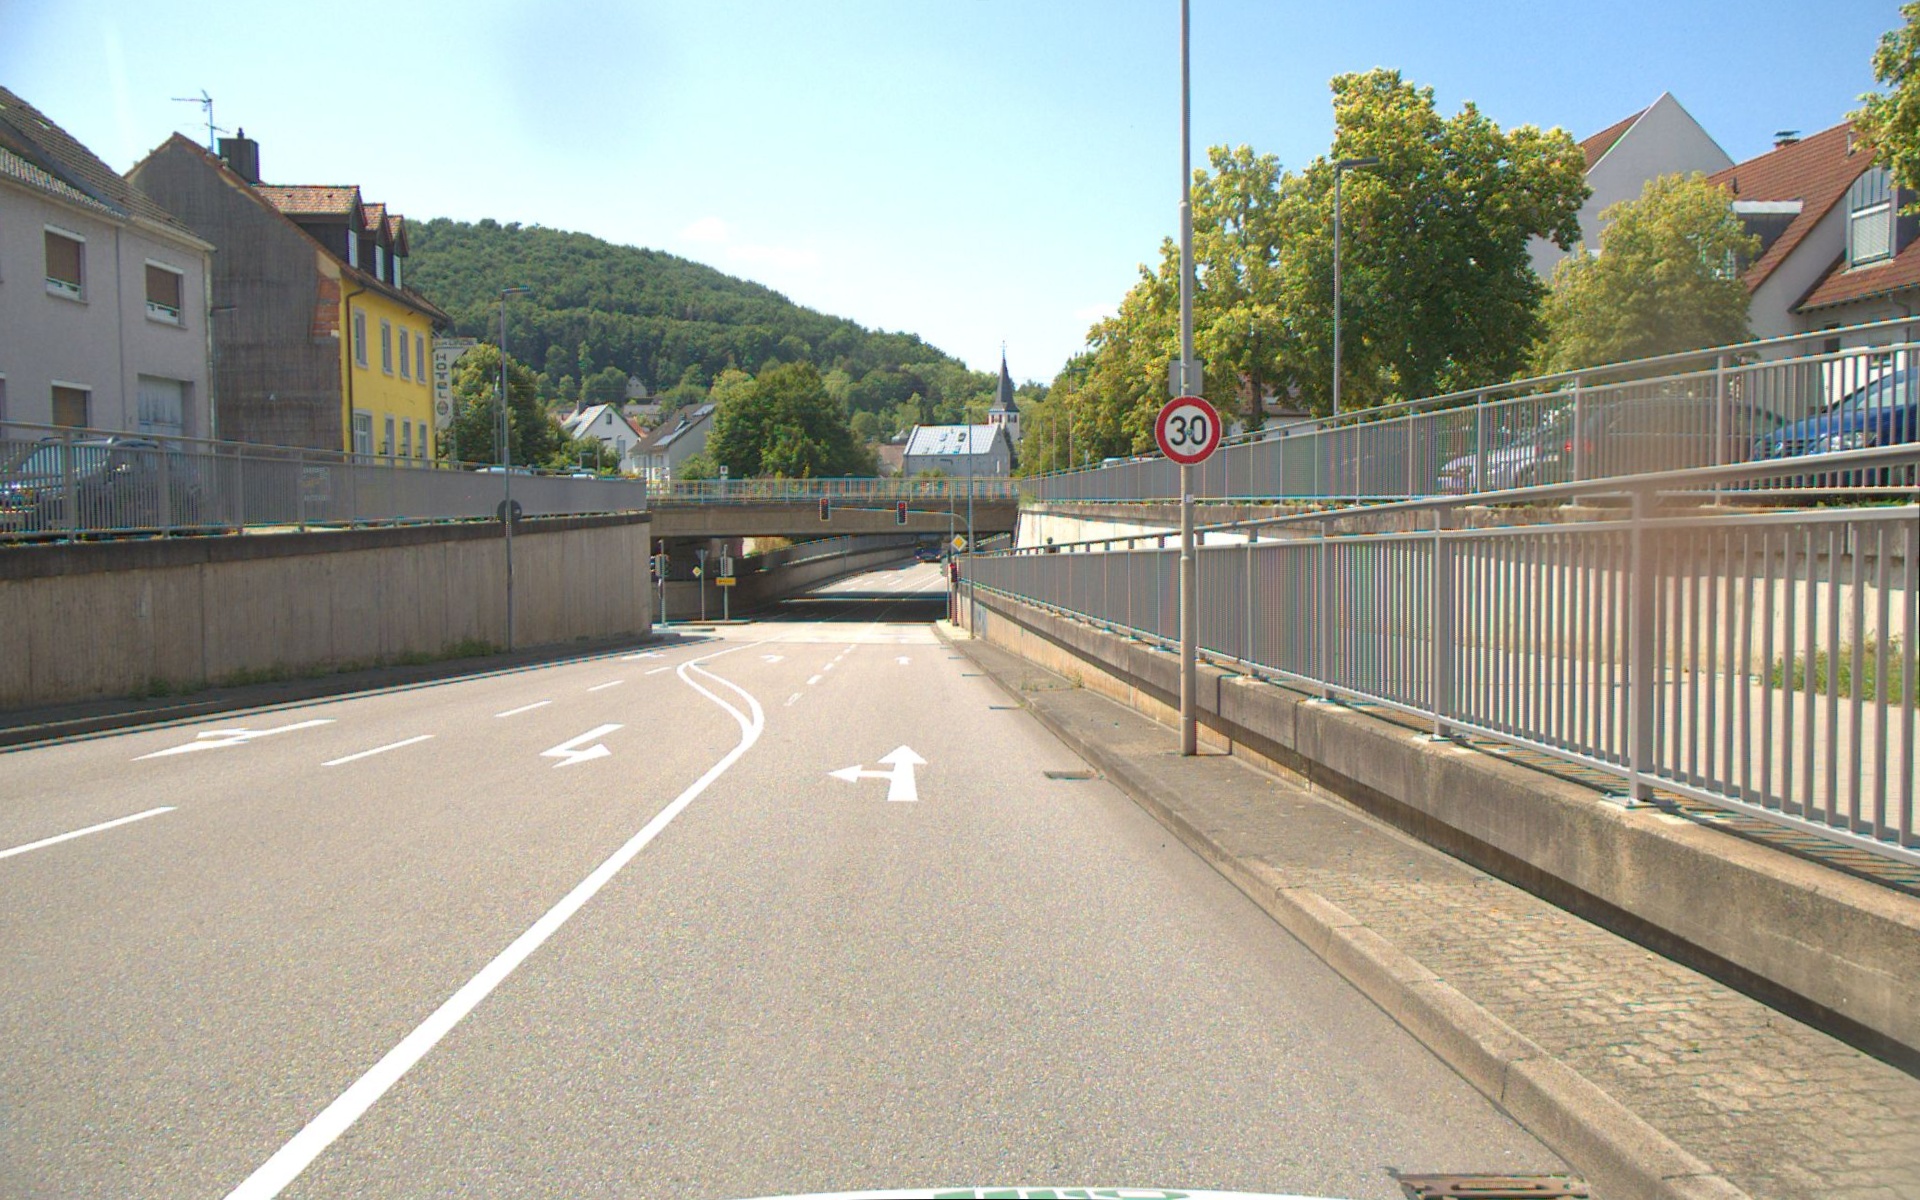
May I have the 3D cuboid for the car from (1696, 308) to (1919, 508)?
[{"bbox_3d":[9.605,-1.801,16.353,3.916,1.658,1.858,1,0,-12],"label":"car"}]

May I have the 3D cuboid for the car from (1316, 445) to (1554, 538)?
[{"bbox_3d":[8.671,-1.976,30.406,3.905,1.583,1.725,0,0,0],"label":"car"}]

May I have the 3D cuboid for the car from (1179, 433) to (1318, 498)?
[{"bbox_3d":[8.662,-4.037,49.912,3.904,1.801,1.770,0,0,1],"label":"car"}]

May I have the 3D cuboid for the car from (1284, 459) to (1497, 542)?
[{"bbox_3d":[8.697,-2.003,33.625,3.905,1.583,1.725,0,0,0],"label":"car"}]

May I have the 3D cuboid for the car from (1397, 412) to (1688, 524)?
[{"bbox_3d":[8.910,-2.012,25.519,3.905,1.583,1.725,0,0,0],"label":"car"}]

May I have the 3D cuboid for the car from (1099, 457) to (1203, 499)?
[{"bbox_3d":[7.535,-4.833,65.459,3.904,1.512,1.770,0,0,1],"label":"car"}]

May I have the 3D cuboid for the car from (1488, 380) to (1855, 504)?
[{"bbox_3d":[8.991,-1.989,21.113,3.906,1.329,1.772,-2,1,-2],"label":"car"}]

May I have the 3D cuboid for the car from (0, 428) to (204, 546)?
[{"bbox_3d":[-11.944,-1.459,22.261,1.750,1.429,4.391,0,2,-4],"label":"car"}]

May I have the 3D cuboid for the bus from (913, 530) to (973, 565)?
[{"bbox_3d":[-1.514,-5.005,156.184,2.526,3.227,12.389,1,2,14],"label":"bus"}]

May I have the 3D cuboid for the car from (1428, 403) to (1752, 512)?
[{"bbox_3d":[8.803,-1.983,23.327,3.905,1.452,1.725,0,3,0],"label":"car"}]

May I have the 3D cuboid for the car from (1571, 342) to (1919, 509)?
[{"bbox_3d":[9.255,-1.957,18.827,3.910,1.660,1.771,-2,1,-6],"label":"car"}]
